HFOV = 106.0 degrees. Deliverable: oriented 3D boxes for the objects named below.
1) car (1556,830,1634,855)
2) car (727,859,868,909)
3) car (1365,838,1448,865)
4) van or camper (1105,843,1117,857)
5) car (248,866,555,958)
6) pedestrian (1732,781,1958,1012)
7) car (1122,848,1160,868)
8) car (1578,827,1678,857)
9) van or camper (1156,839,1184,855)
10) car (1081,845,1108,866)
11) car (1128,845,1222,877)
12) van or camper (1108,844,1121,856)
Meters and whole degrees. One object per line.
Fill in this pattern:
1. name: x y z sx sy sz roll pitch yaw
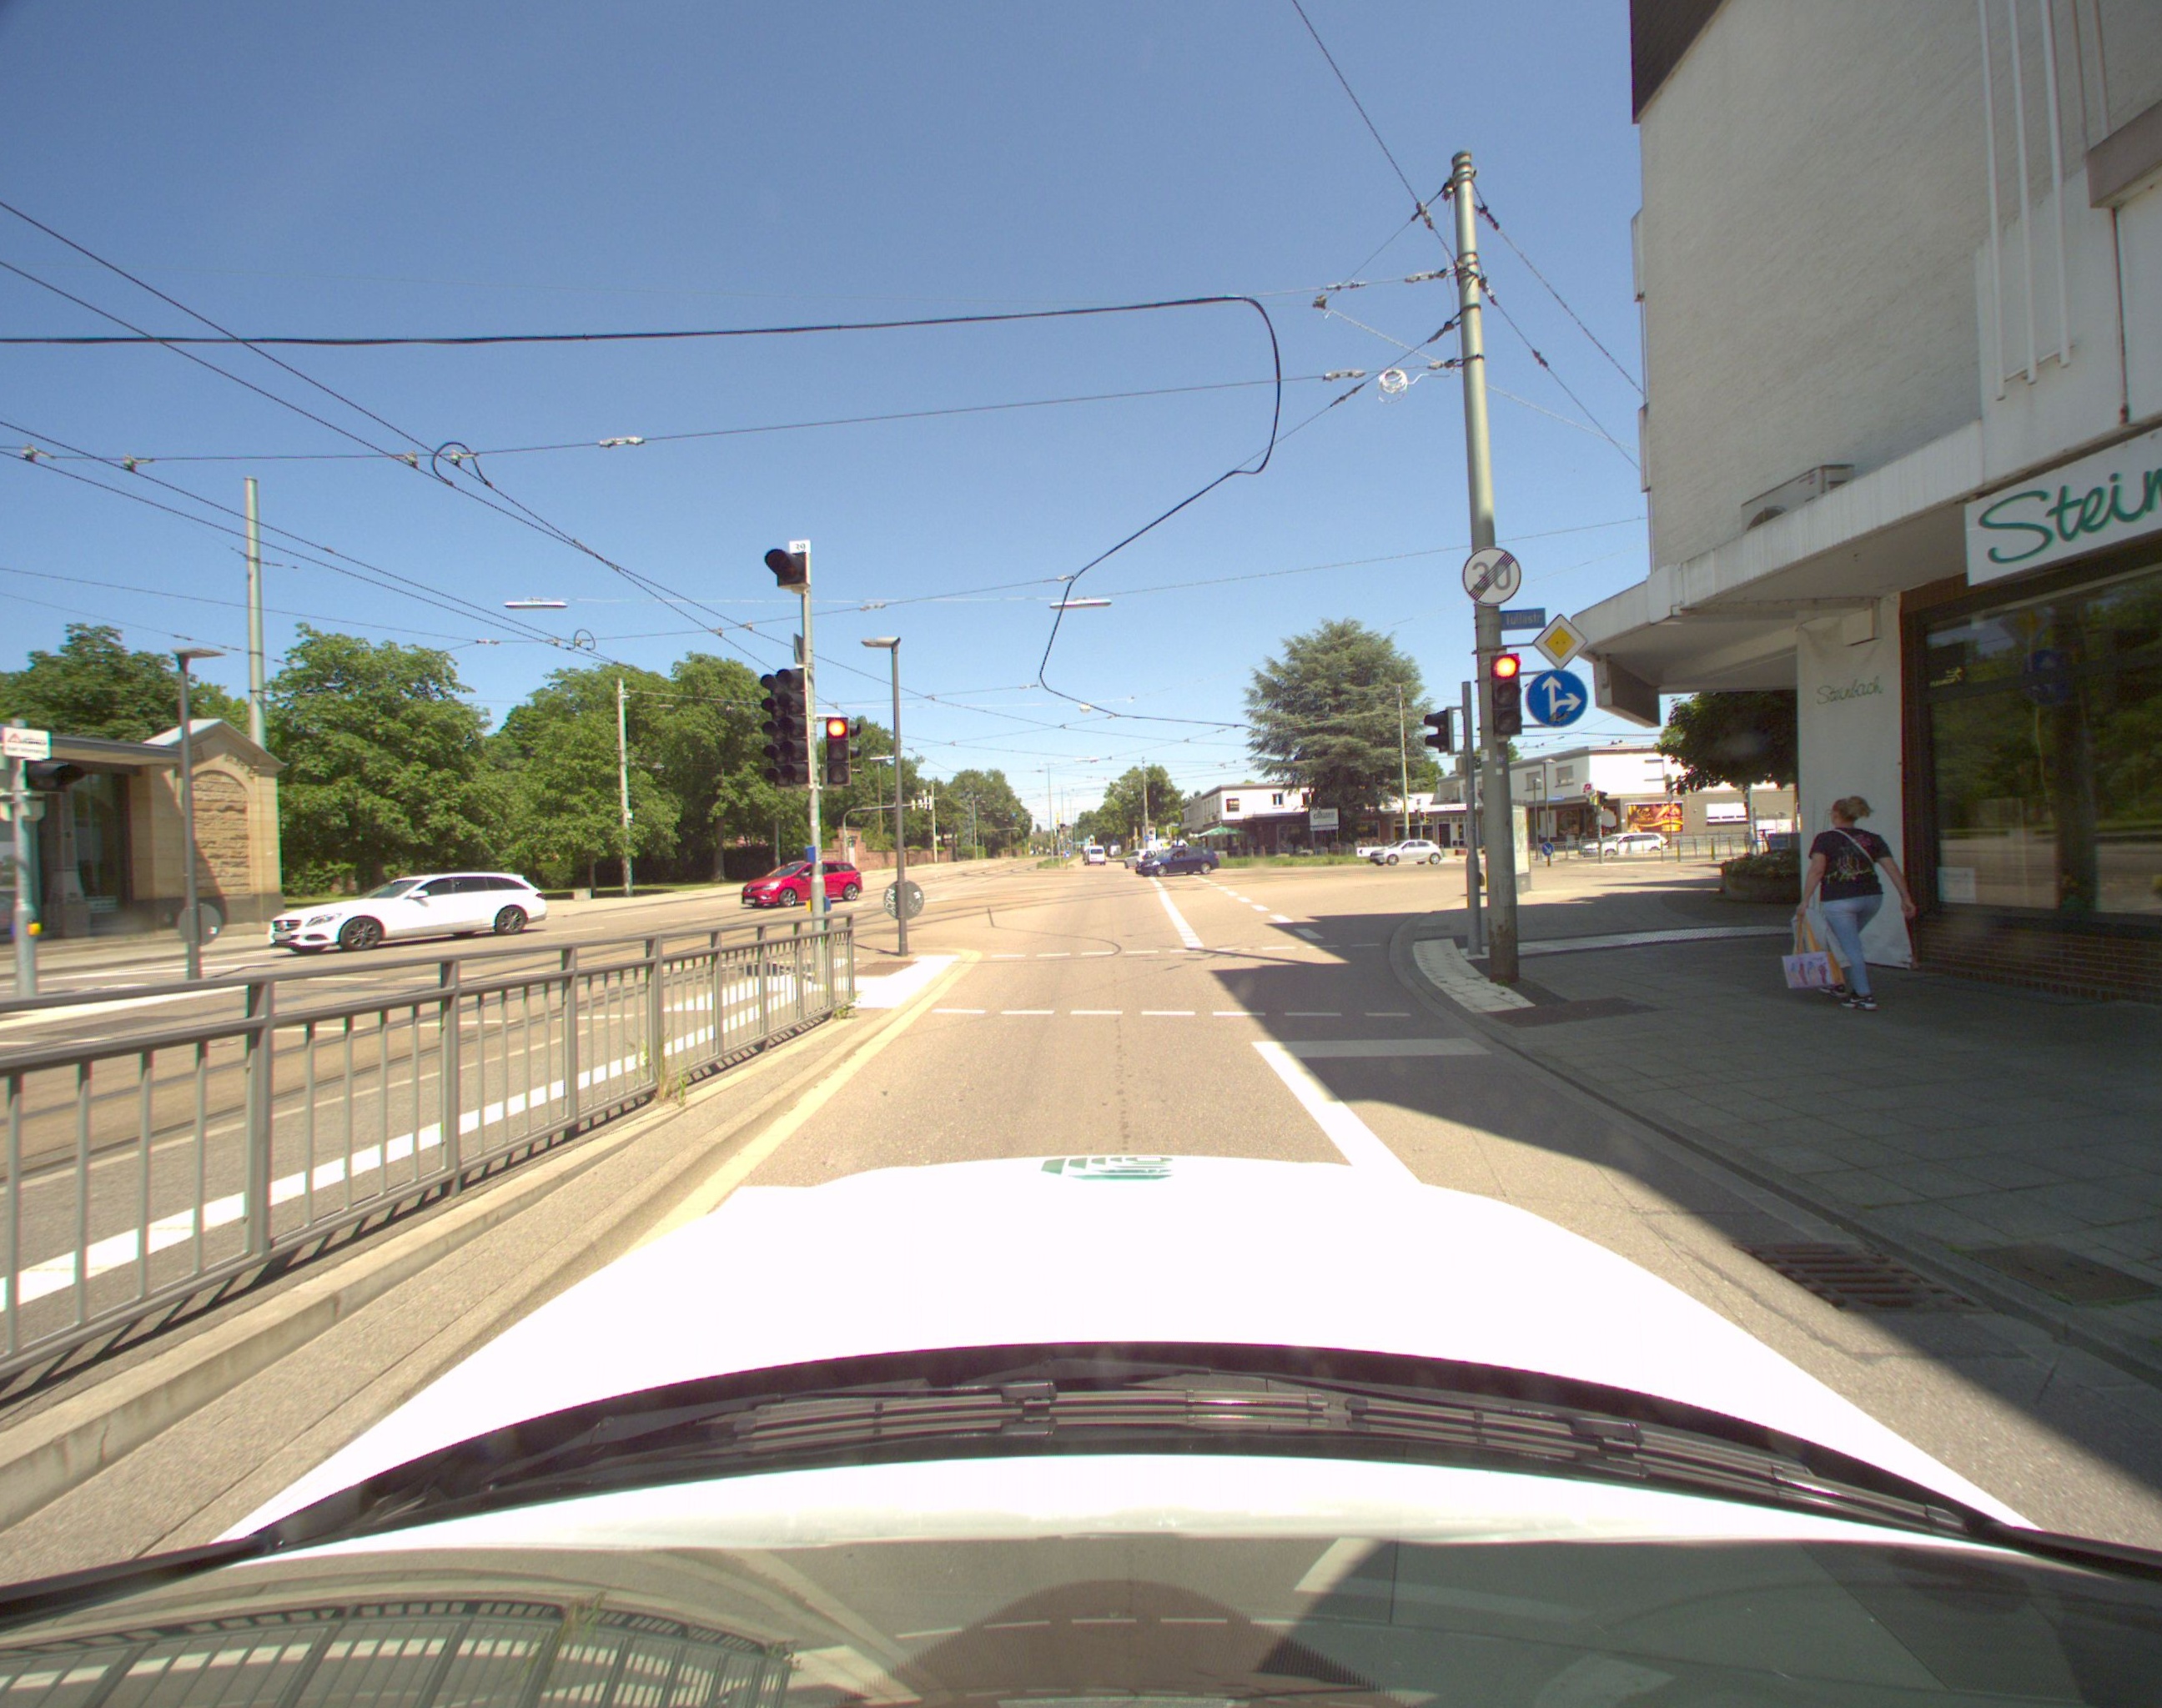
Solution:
1. car: 31.817 -0.707 50.464 3.816 1.351 1.642 -2 0 0
2. car: -9.440 0.963 27.389 1.800 1.395 4.202 -2 0 34
3. car: 18.558 -0.155 46.513 4.028 1.362 1.822 -2 0 -2
4. van or camper: 5.611 -0.799 153.041 1.988 2.464 3.998 -2 0 -2
5. car: -14.101 1.126 17.311 1.802 1.468 4.648 -4 0 20
6. pedestrian: 5.803 0.307 6.253 0.822 1.583 0.828 -6 0 7
7. car: 4.570 0.302 62.199 1.676 1.435 3.452 -2 0 -19
8. car: 31.521 -0.683 47.031 4.467 1.489 1.825 -3 0 2
9. van or camper: 15.653 -1.230 143.350 4.742 2.671 2.135 -2 0 -1
10. car: 1.277 0.099 79.117 1.993 1.859 3.989 -2 1 -8
11. car: 4.876 0.329 42.184 4.485 1.442 1.847 -2 0 -24
12. van or camper: 5.383 -0.627 130.560 1.915 1.772 4.002 -2 0 2
